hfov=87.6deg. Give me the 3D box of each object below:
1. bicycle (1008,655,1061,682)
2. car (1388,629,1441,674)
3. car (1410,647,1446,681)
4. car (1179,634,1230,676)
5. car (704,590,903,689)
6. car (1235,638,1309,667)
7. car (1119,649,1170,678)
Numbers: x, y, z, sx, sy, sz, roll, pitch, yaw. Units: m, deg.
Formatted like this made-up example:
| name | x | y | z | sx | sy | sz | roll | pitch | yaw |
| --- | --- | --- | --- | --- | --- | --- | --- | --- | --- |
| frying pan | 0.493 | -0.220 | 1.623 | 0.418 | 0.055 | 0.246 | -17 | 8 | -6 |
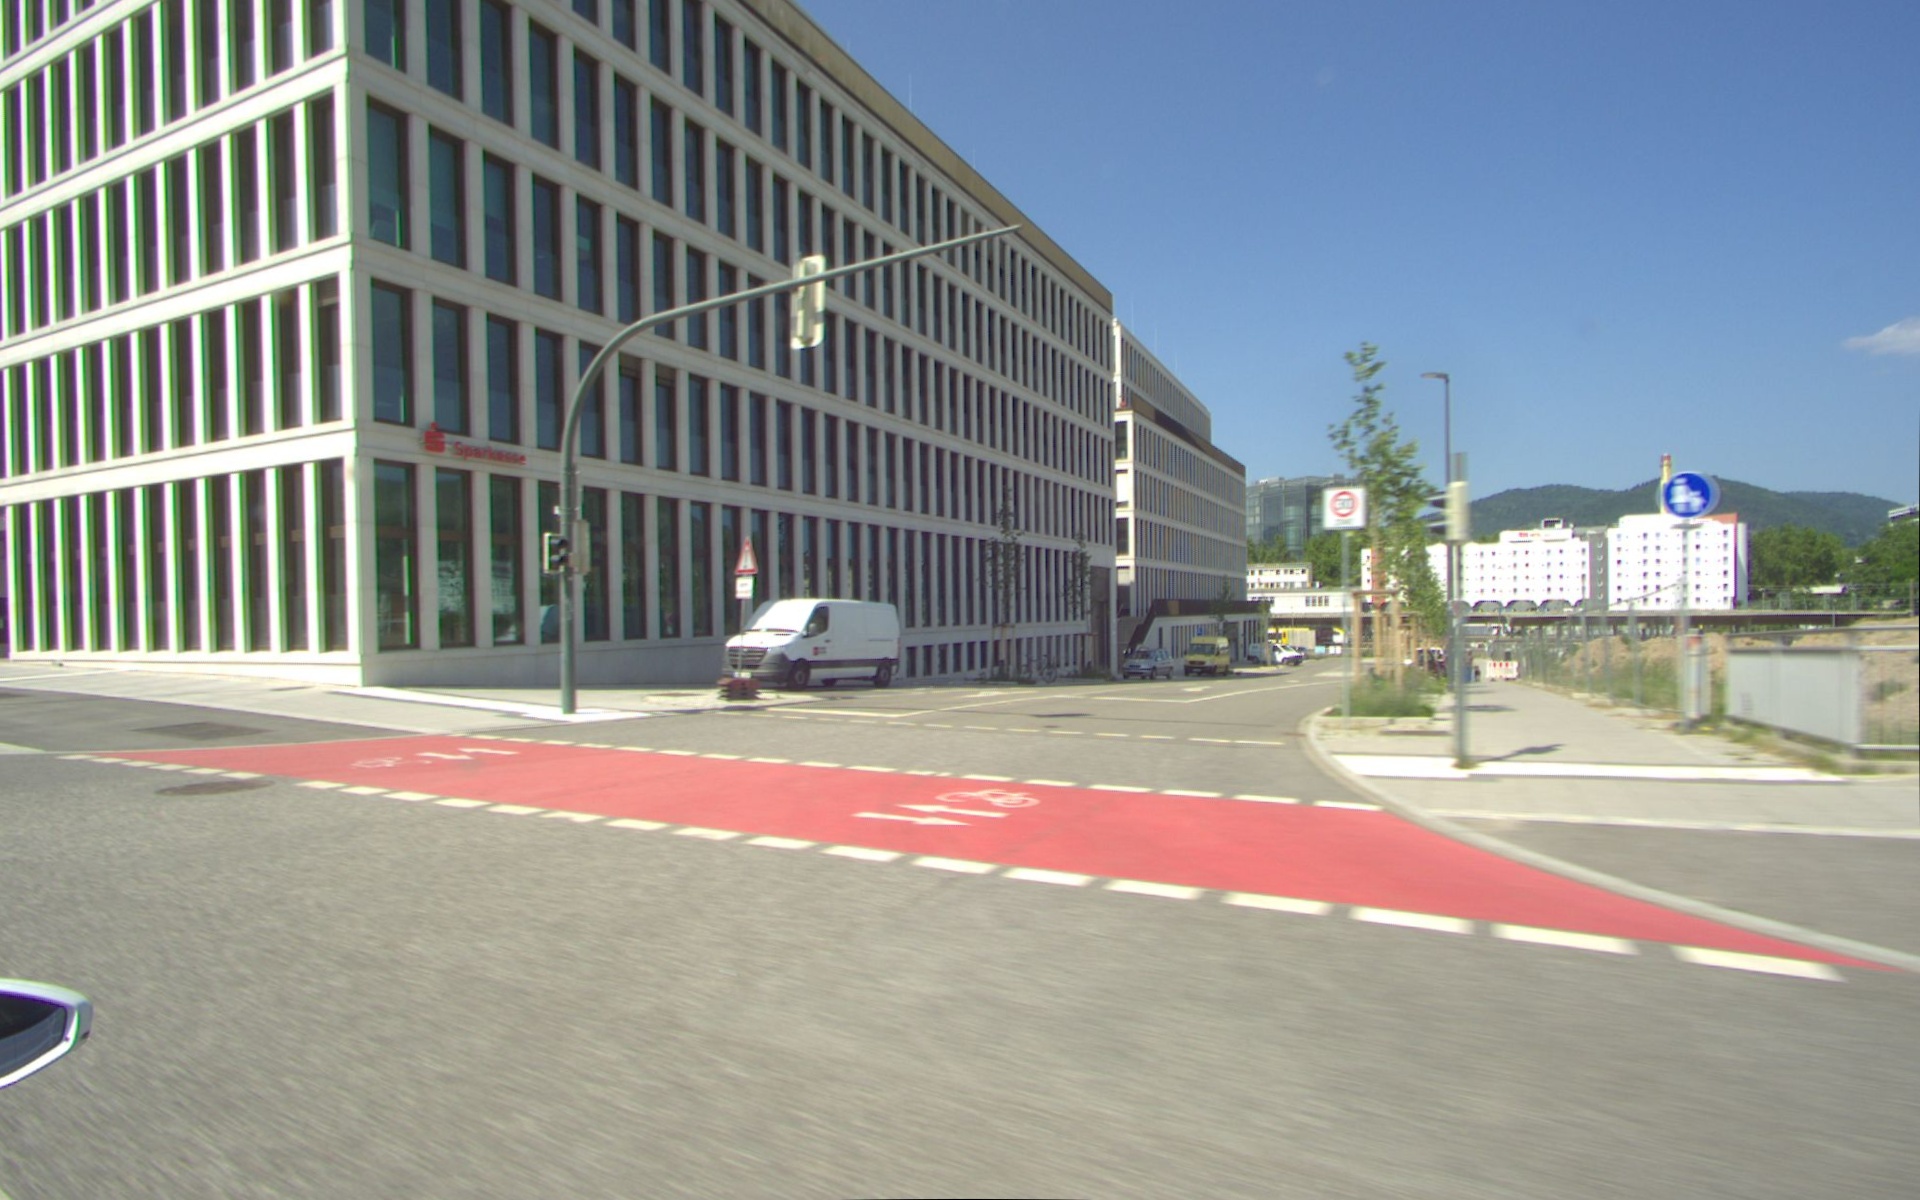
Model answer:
| name | x | y | z | sx | sy | sz | roll | pitch | yaw |
| --- | --- | --- | --- | --- | --- | --- | --- | --- | --- |
| bicycle | 2.921 | 2.681 | 39.415 | 1.957 | 1.005 | 0.707 | -1 | -1 | 31 |
| car | 17.510 | 1.933 | 38.503 | 1.631 | 1.614 | 3.680 | 0 | -1 | 28 |
| car | 26.311 | 3.622 | 56.252 | 1.631 | 1.641 | 3.686 | 0 | -7 | 28 |
| car | 16.073 | 3.634 | 65.592 | 2.044 | 2.503 | 6.137 | 0 | -5 | 25 |
| car | -3.889 | 1.076 | 26.281 | 2.113 | 2.298 | 5.837 | 0 | -3 | 28 |
| car | 28.534 | 4.833 | 91.803 | 2.222 | 2.504 | 6.293 | 3 | -5 | -41 |
| car | 9.779 | 3.366 | 52.813 | 1.742 | 1.416 | 3.662 | 0 | -5 | 25 |
